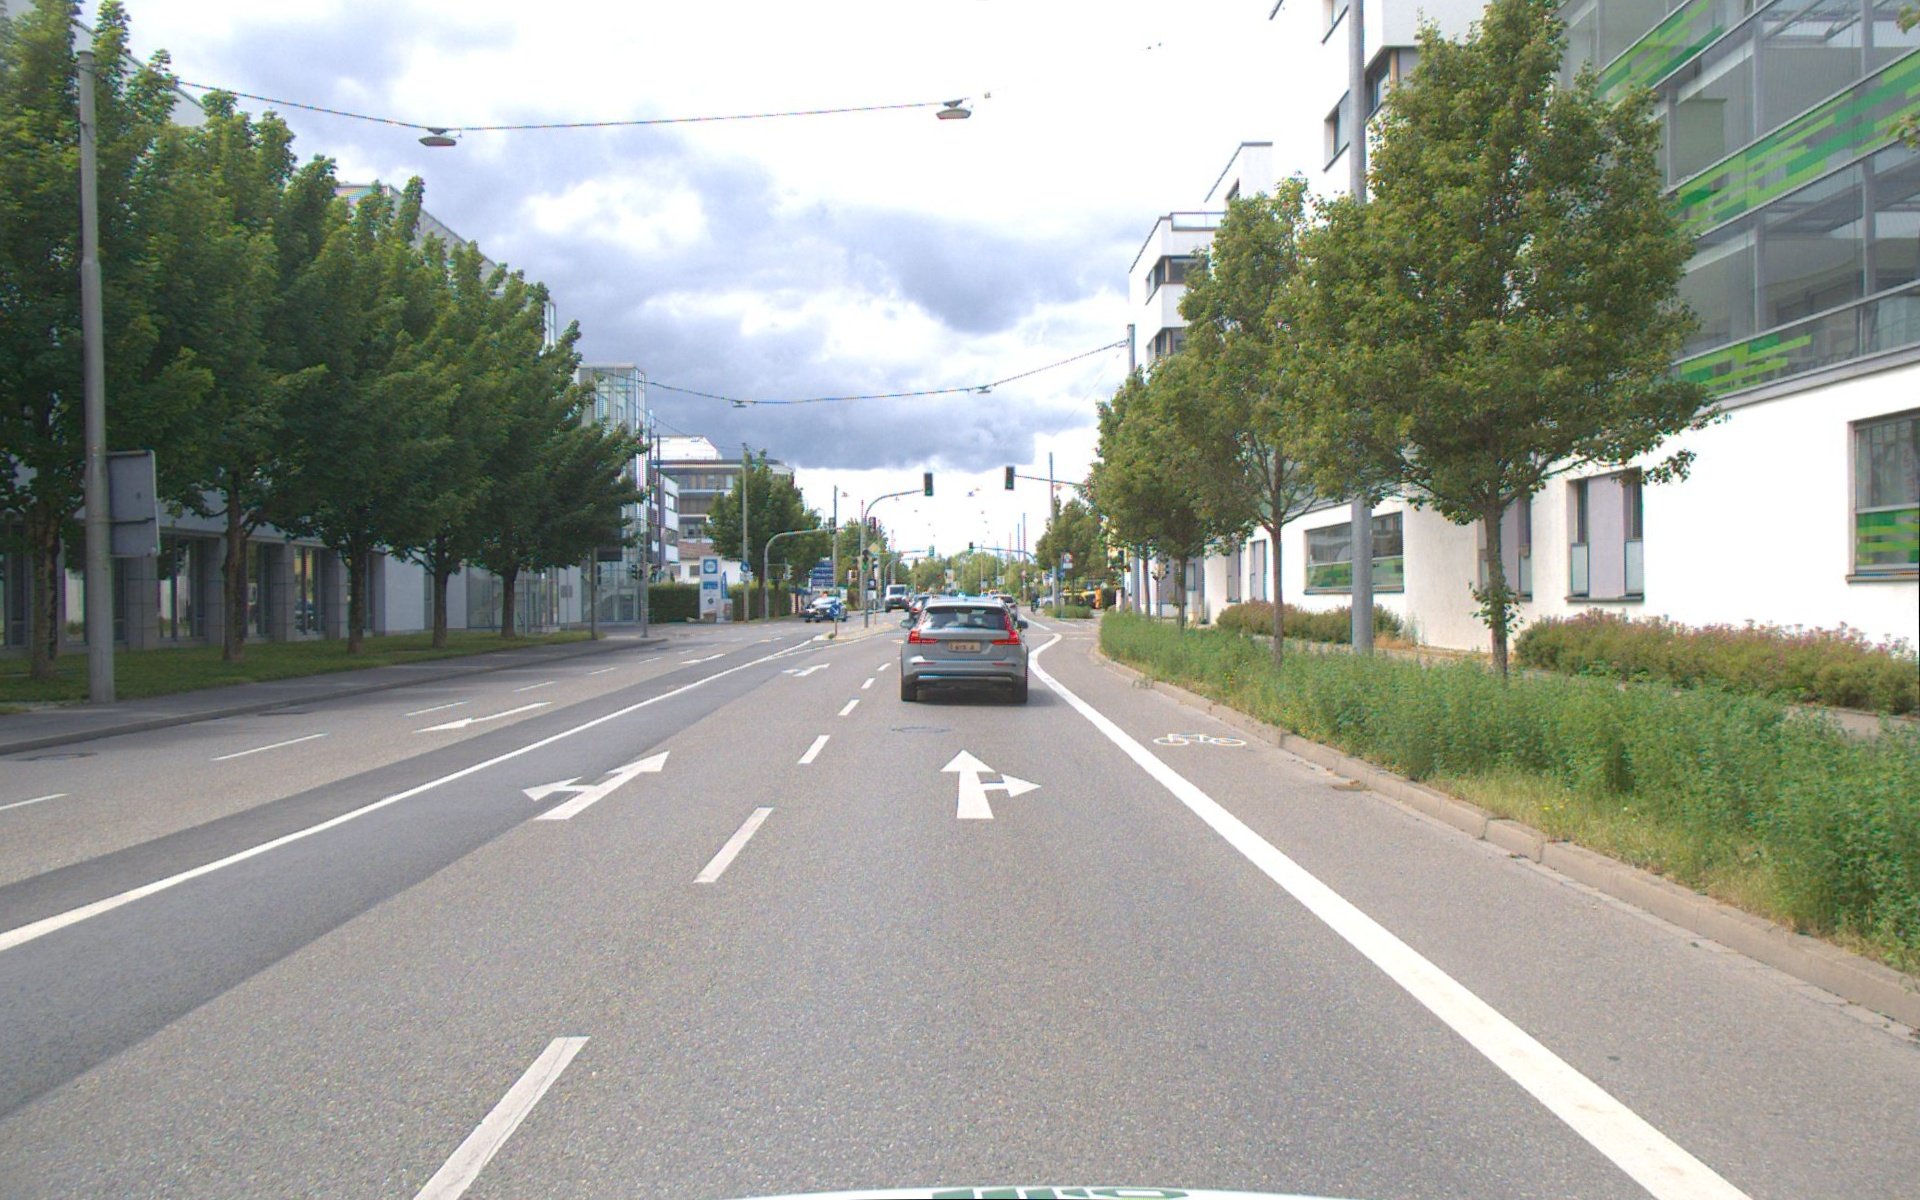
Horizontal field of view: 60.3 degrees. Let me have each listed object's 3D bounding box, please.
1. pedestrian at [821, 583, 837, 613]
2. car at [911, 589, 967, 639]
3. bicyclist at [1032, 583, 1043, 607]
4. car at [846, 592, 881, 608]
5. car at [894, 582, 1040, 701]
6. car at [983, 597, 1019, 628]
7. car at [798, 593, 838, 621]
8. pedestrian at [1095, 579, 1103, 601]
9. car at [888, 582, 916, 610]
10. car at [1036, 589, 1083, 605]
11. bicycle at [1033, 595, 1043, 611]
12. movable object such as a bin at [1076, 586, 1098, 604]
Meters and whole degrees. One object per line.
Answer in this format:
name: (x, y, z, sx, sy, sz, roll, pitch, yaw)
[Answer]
pedestrian: (-9.200, -0.144, 115.877, 0.714, 2.049, 0.805, 1, -1, 43)
car: (-0.794, 0.508, 61.130, 1.953, 1.747, 3.999, 1, -1, -2)
bicyclist: (5.691, -0.383, 121.353, 0.625, 1.704, 0.890, -4, 0, 1)
car: (-11.463, -0.031, 196.052, 4.017, 1.421, 1.905, -6, 1, -7)
car: (0.186, 0.591, 24.699, 1.856, 1.581, 4.002, 1, -1, 4)
car: (2.339, 0.735, 95.499, 1.953, 1.724, 4.000, 1, -1, 0)
car: (-8.327, 0.416, 97.375, 1.983, 1.470, 5.048, -2, 0, -1)
pedestrian: (11.261, -0.786, 133.939, 0.496, 1.796, 0.501, 1, -1, 17)
car: (-5.313, -0.361, 151.171, 2.098, 2.515, 6.074, -2, 0, 2)
car: (9.892, -0.328, 164.658, 4.600, 1.519, 2.046, 0, 1, 0)
bicycle: (5.725, 0.196, 121.163, 0.625, 1.081, 1.978, -4, 0, 1)
movable object such as a bin: (10.432, -0.379, 135.678, 1.297, 1.460, 1.246, -1, -1, 38)
